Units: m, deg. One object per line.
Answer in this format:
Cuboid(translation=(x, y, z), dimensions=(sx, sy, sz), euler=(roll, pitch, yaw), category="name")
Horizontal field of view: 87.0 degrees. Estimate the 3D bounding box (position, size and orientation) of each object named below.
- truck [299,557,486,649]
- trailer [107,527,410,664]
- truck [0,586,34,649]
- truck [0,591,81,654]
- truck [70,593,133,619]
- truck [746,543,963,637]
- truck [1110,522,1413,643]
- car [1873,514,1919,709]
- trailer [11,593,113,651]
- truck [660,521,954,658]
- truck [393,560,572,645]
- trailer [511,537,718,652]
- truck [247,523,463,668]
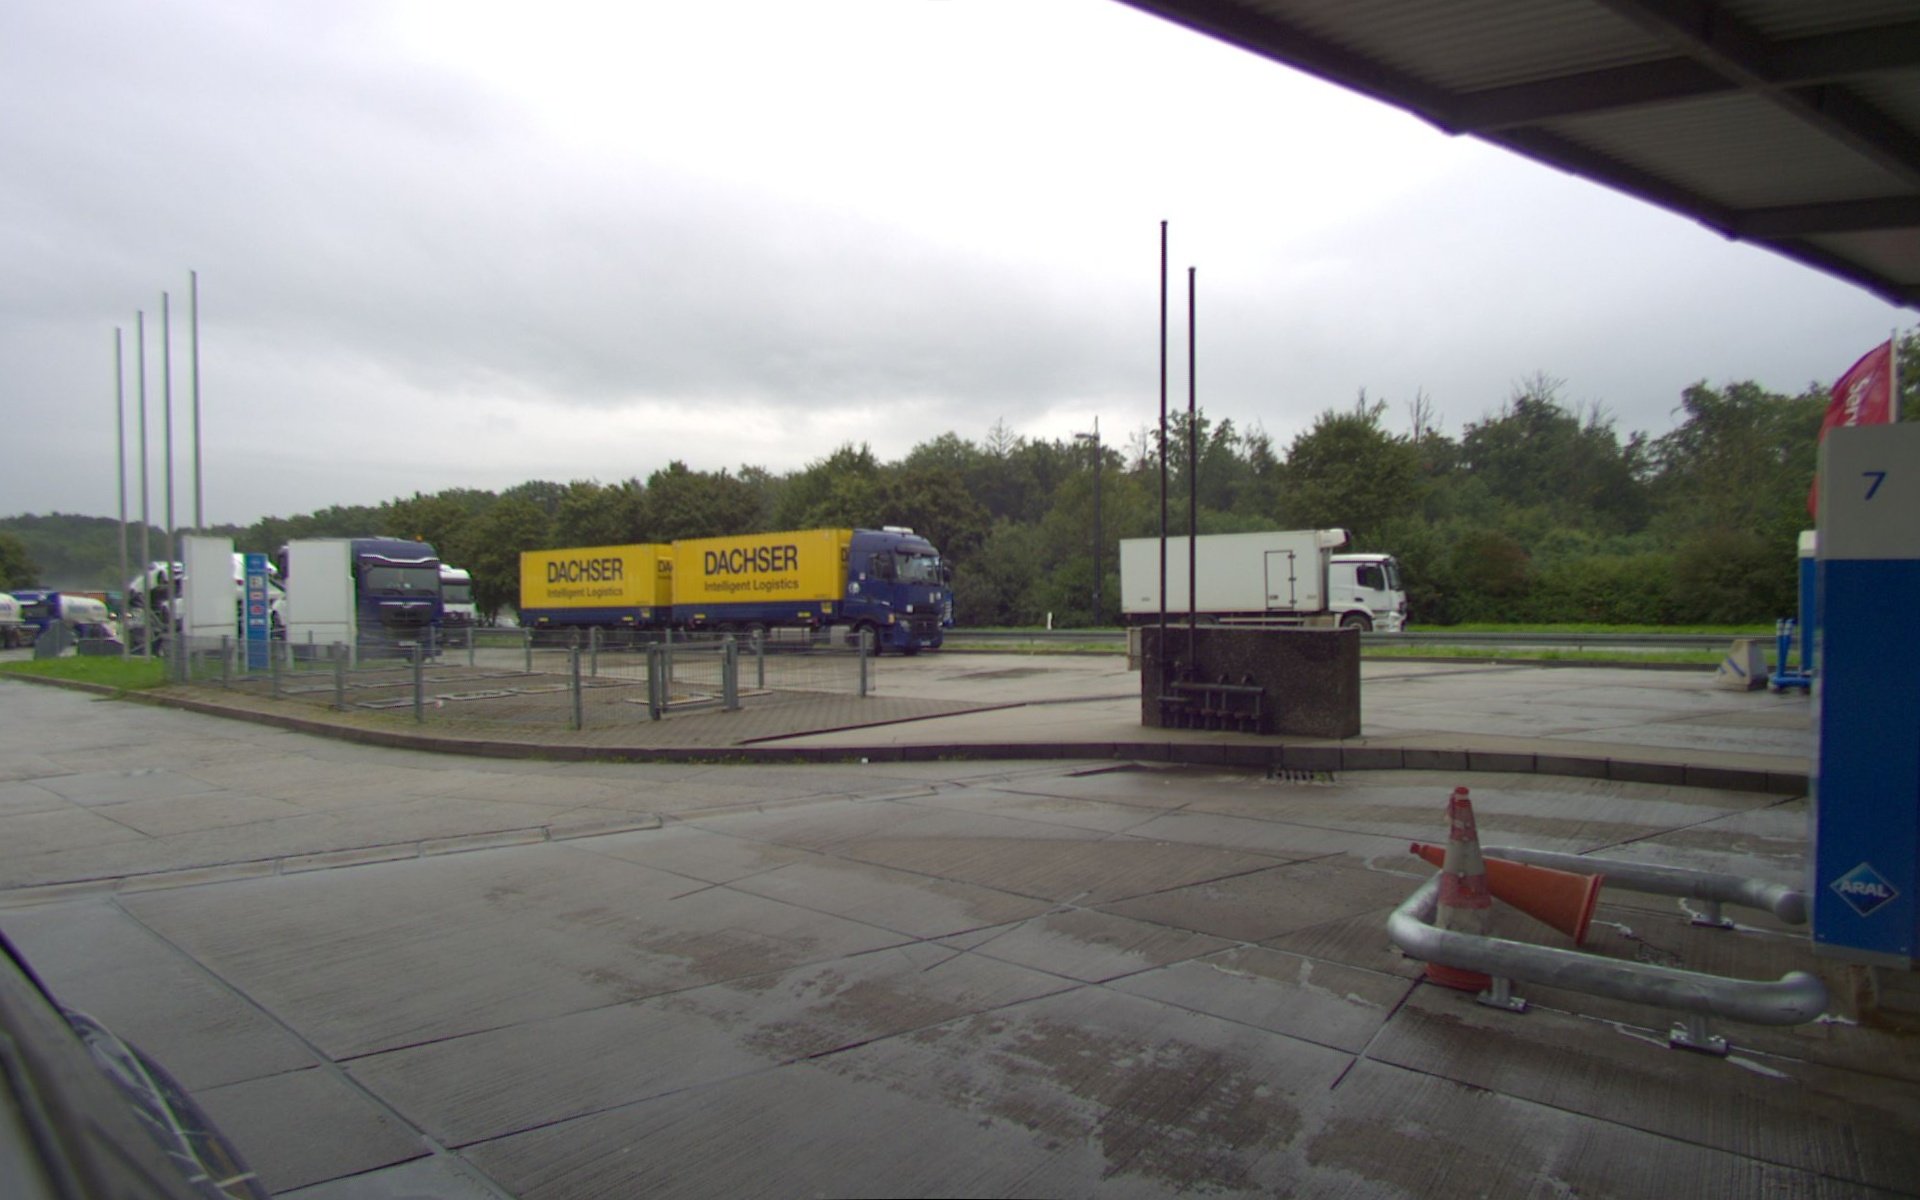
Cuboid(translation=(-27.293, 0.185, 48.439), dimensions=(10.433, 4.063, 2.961), euler=(-1, 0, 30), category="truck")
Cuboid(translation=(-25.409, -0.049, 35.918), dimensions=(16.563, 4.063, 2.957), euler=(-1, 0, 34), category="trailer")
Cuboid(translation=(-55.549, 1.026, 55.010), dimensions=(3.196, 3.591, 12.013), euler=(-1, 0, -19), category="truck")
Cuboid(translation=(-59.415, 1.380, 64.989), dimensions=(3.000, 3.796, 6.486), euler=(-1, 0, -27), category="truck")
Cuboid(translation=(-127.017, 0.919, 149.619), dimensions=(14.626, 3.591, 3.214), euler=(-1, -2, 34), category="truck")
Cuboid(translation=(-5.132, -0.393, 47.683), dimensions=(10.433, 4.063, 2.961), euler=(-1, 0, 30), category="truck")
Cuboid(translation=(11.043, -0.532, 37.715), dimensions=(10.433, 4.063, 2.961), euler=(-1, 0, 30), category="truck")
Cuboid(translation=(14.893, 0.121, 12.389), dimensions=(5.272, 2.482, 2.298), euler=(-1, -2, 37), category="car")
Cuboid(translation=(-62.260, 1.443, 70.476), dimensions=(2.854, 3.666, 10.605), euler=(-1, 0, -28), category="trailer")
Cuboid(translation=(-5.382, -0.261, 33.948), dimensions=(10.608, 4.063, 2.743), euler=(-1, 0, 33), category="truck")
Cuboid(translation=(-24.771, 0.152, 52.268), dimensions=(10.433, 4.063, 2.961), euler=(-1, 0, 30), category="truck")
Cuboid(translation=(-13.538, -0.157, 39.282), dimensions=(8.833, 4.063, 2.743), euler=(-1, 0, 33), category="trailer")
Cuboid(translation=(-18.984, -0.106, 31.615), dimensions=(7.244, 4.063, 2.957), euler=(-1, 0, 34), category="truck")
